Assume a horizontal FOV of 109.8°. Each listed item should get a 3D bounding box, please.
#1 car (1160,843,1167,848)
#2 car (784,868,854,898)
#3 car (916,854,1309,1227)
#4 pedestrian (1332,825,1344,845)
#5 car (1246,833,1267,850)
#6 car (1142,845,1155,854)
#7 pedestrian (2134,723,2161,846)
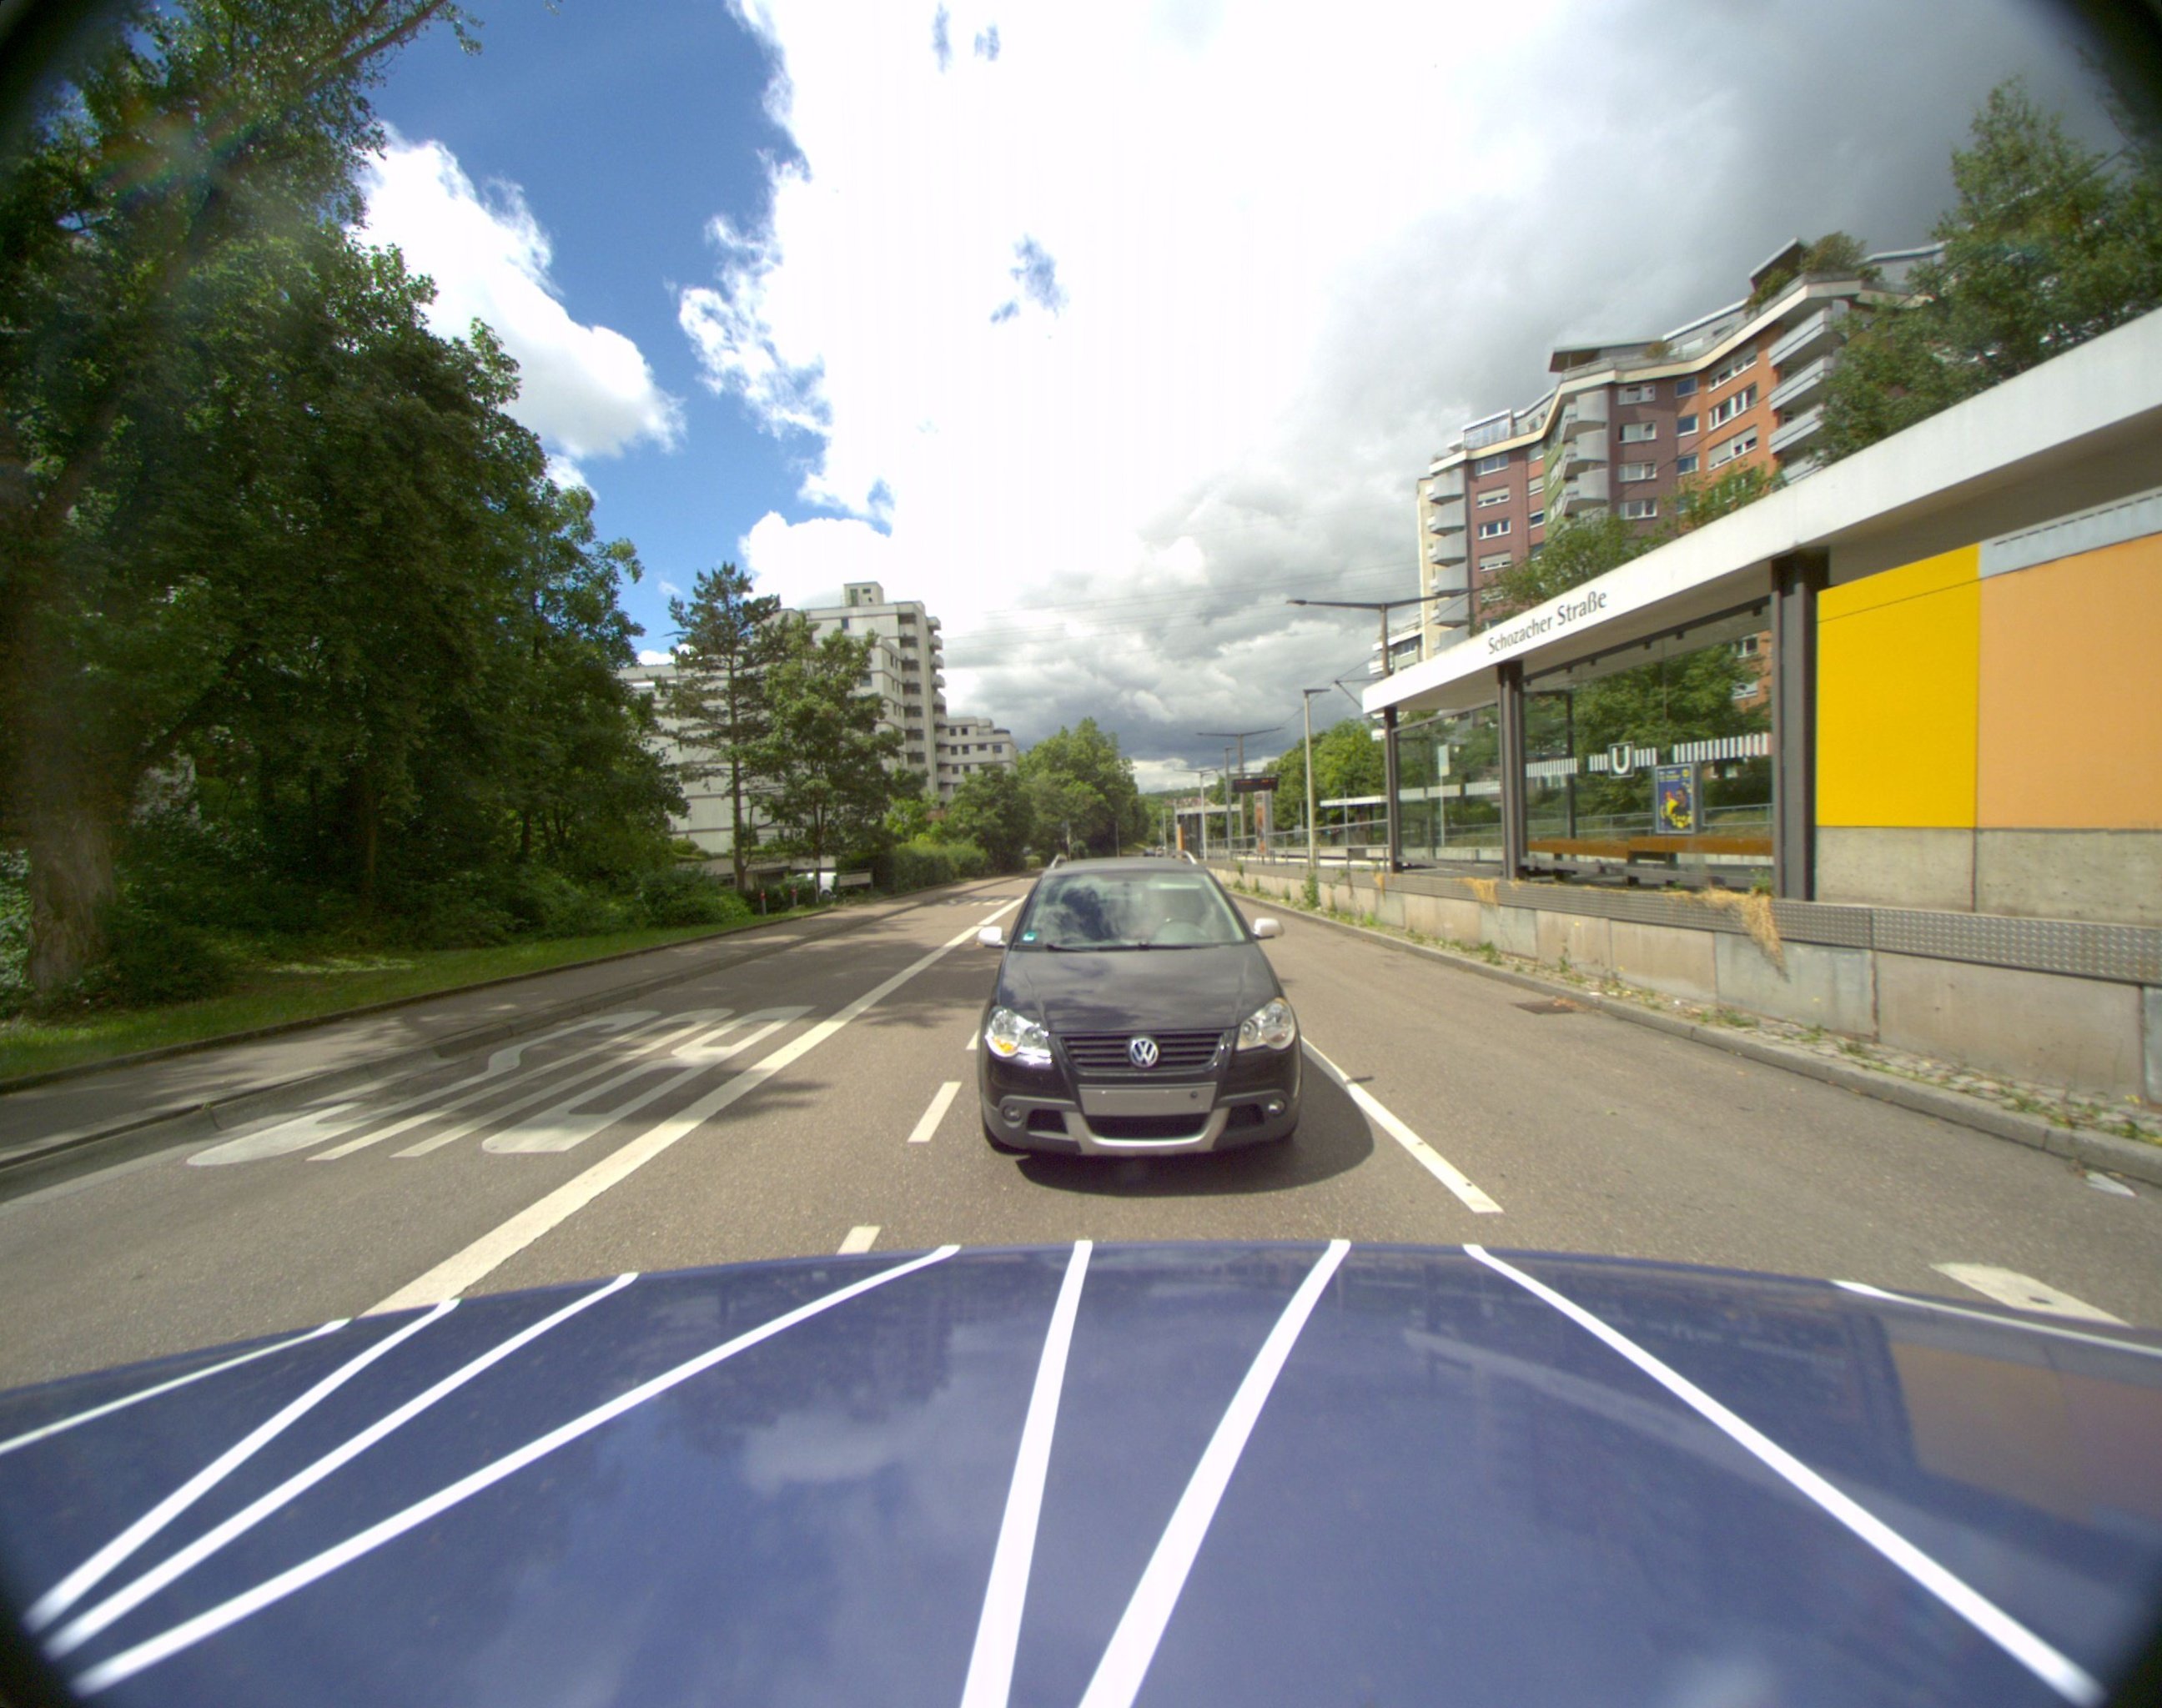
[{"bbox_3d":[22.673,-2.281,209.325,1.643,1.395,3.708,-2,1,4],"label":"car"},{"bbox_3d":[-19.887,2.224,57.808,4.543,2.002,2.001,-2,1,7],"label":"car"},{"bbox_3d":[0.226,0.822,5.292,1.641,1.521,4.000,-2,1,3],"label":"car"},{"bbox_3d":[16.735,-1.237,49.467,0.535,1.270,0.563,-1,2,41],"label":"pedestrian"},{"bbox_3d":[22.160,-1.606,96.150,1.737,2.002,4.000,-2,1,2],"label":"car"},{"bbox_3d":[10.626,-0.689,119.256,1.821,1.377,4.065,-2,1,2],"label":"car"},{"bbox_3d":[15.182,-0.978,10.681,0.354,1.703,0.426,-3,2,-38],"label":"pedestrian"}]
